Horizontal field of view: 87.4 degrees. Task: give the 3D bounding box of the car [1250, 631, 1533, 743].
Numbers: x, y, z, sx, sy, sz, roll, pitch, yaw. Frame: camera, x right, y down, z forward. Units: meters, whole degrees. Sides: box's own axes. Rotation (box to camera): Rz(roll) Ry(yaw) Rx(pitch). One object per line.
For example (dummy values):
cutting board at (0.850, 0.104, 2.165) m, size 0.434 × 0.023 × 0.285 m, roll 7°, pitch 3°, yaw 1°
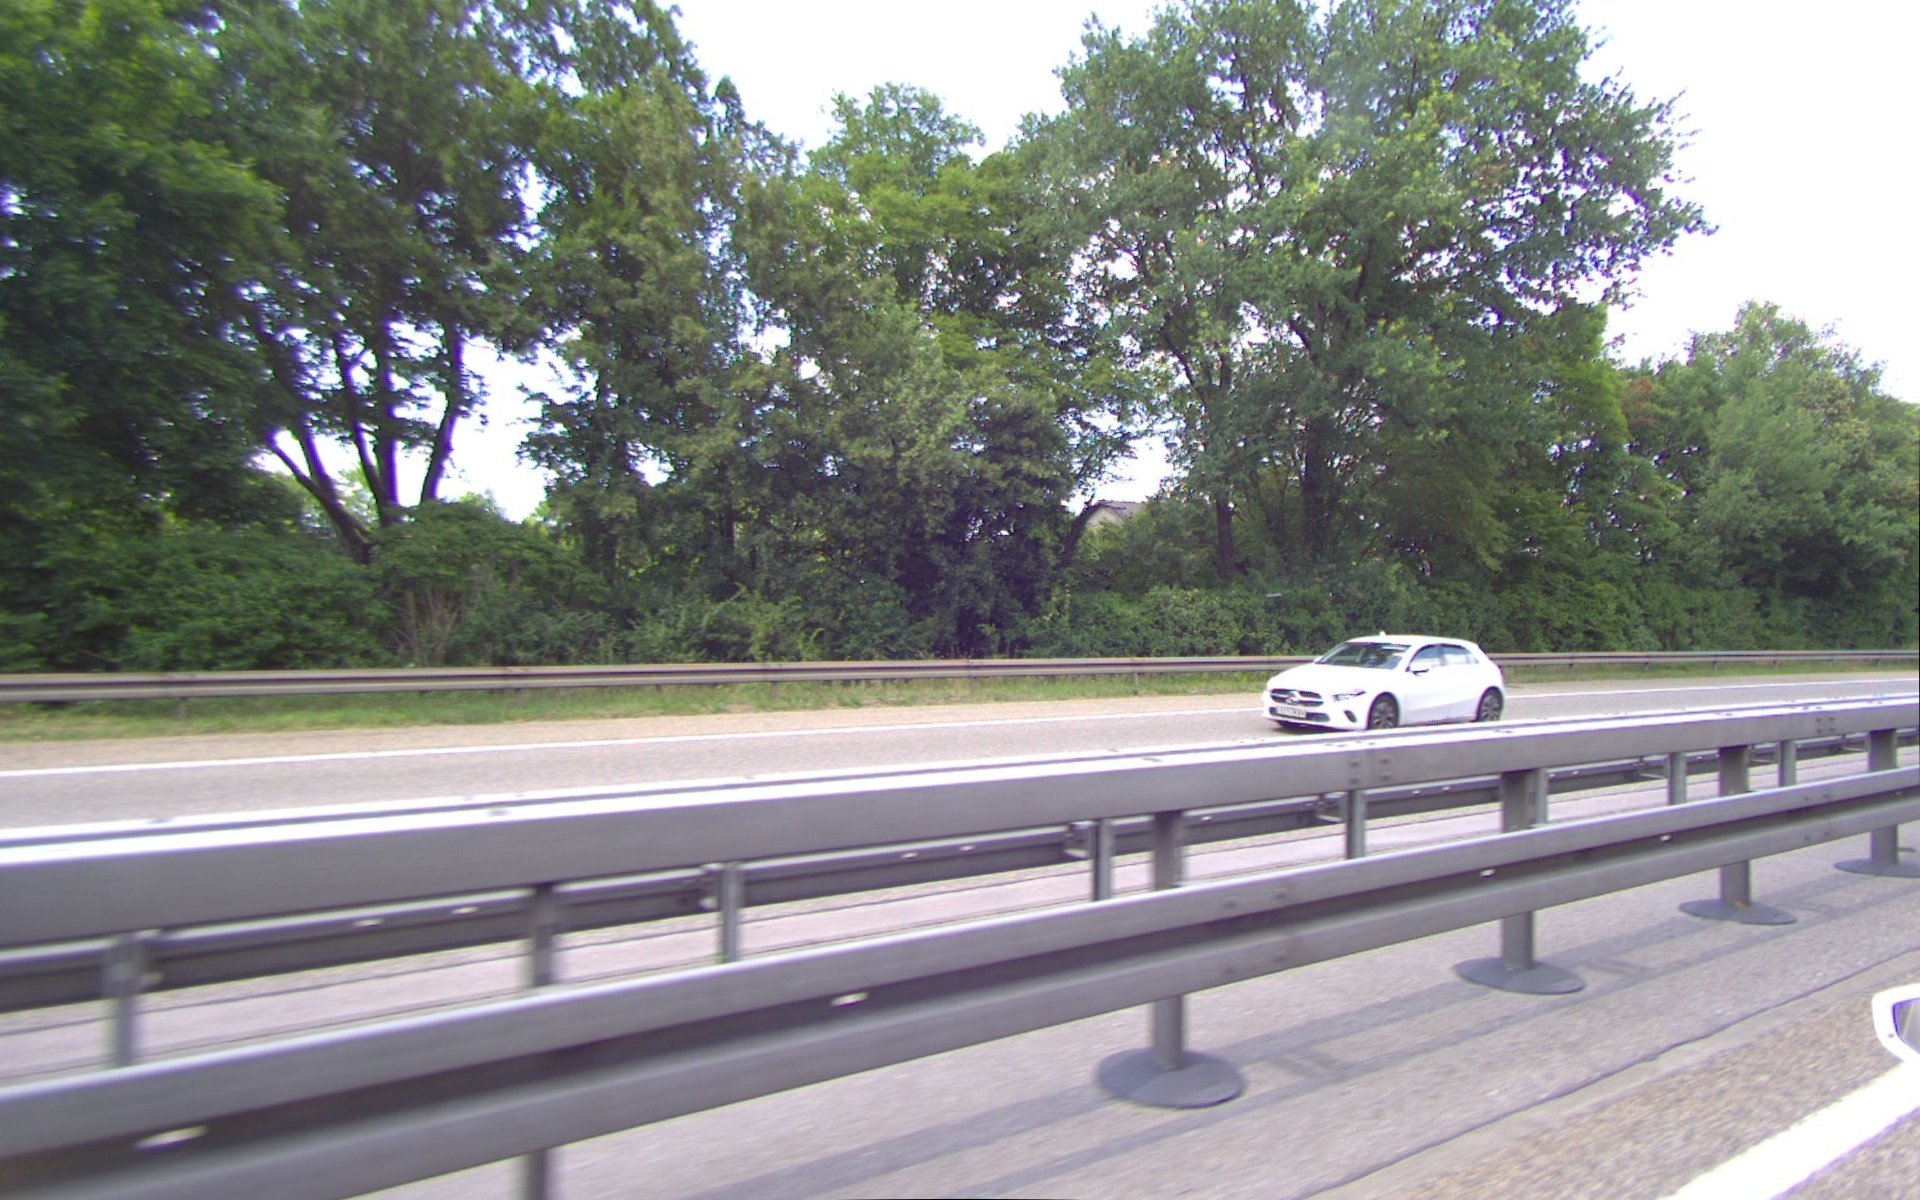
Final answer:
car at (6.724, 1.246, 15.528) m, size 4.497 × 1.450 × 1.670 m, roll 1°, pitch 1°, yaw -30°
